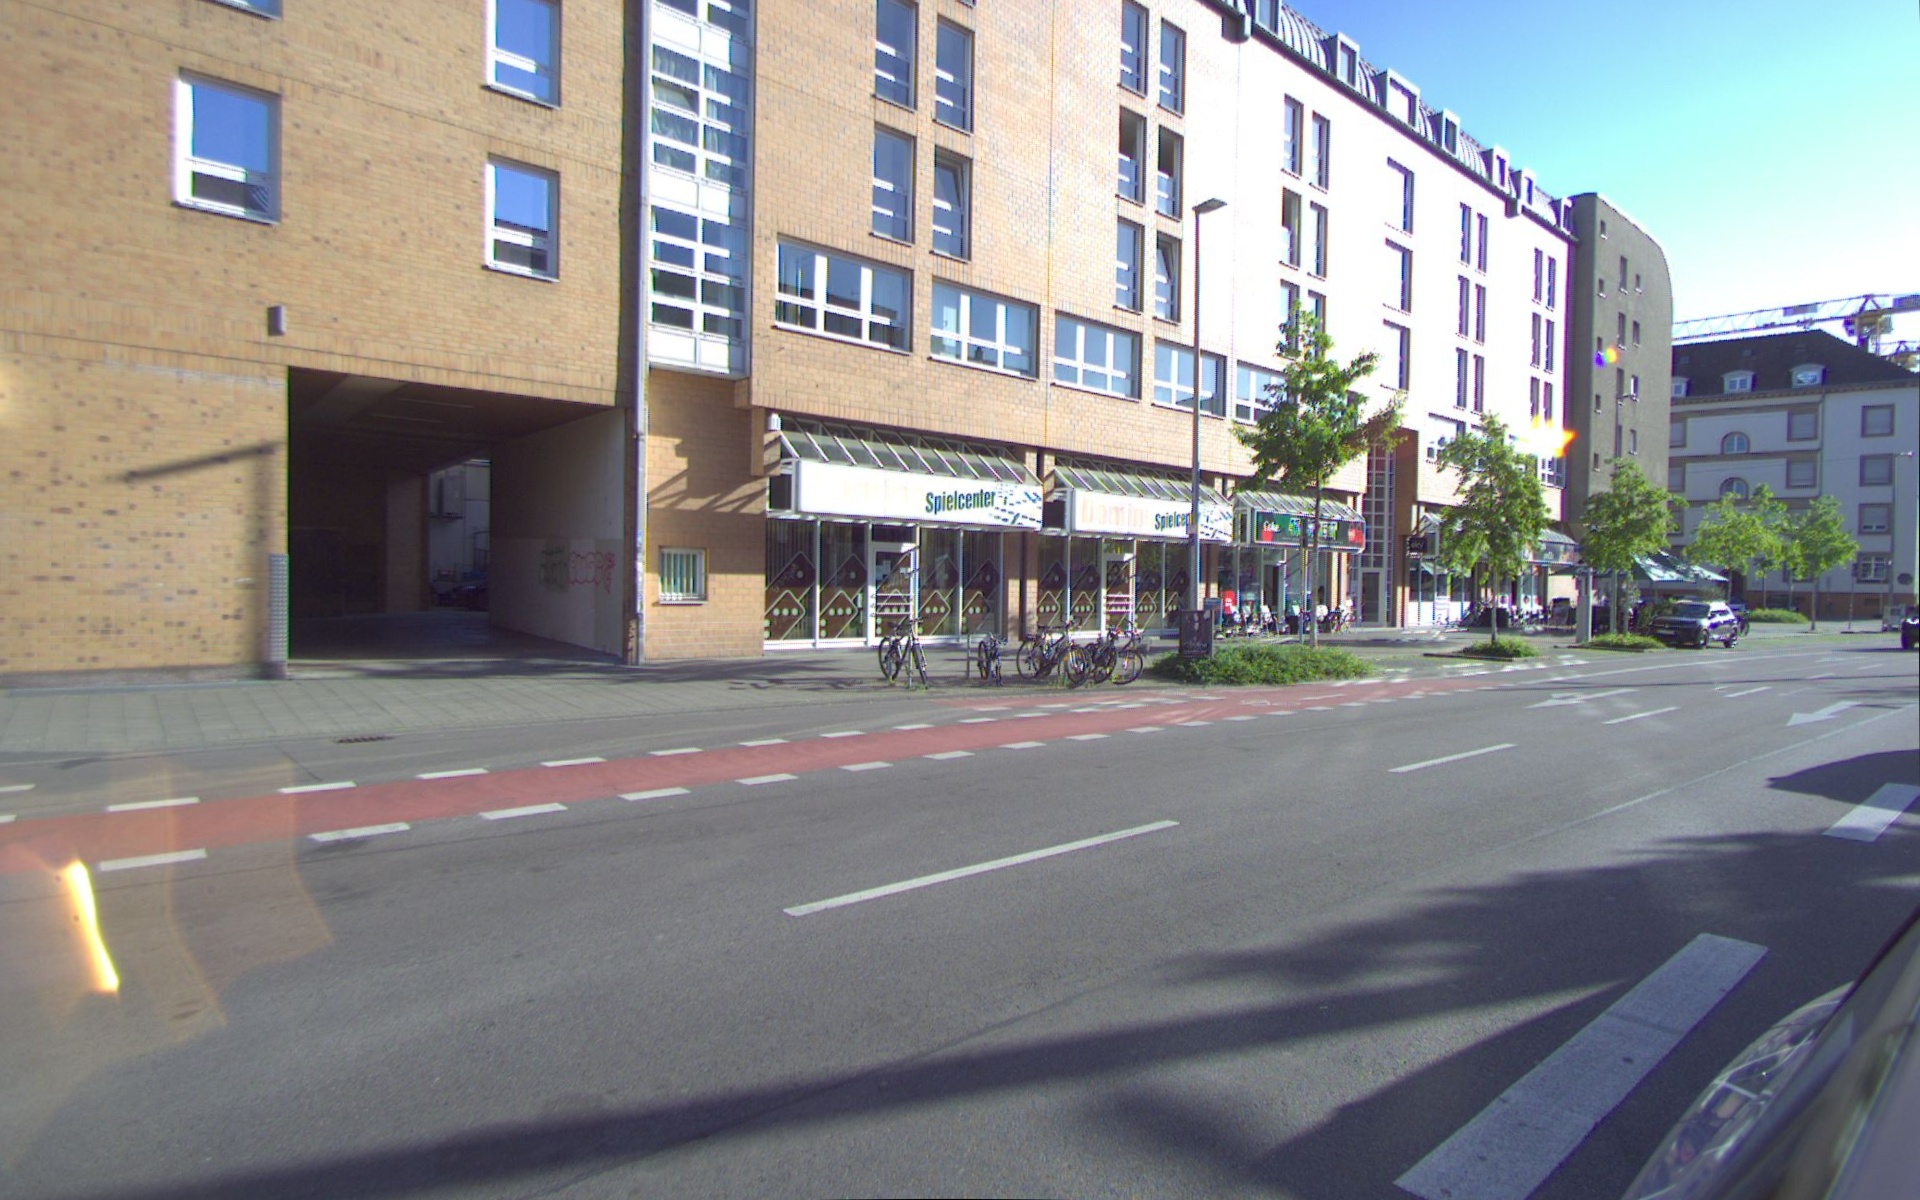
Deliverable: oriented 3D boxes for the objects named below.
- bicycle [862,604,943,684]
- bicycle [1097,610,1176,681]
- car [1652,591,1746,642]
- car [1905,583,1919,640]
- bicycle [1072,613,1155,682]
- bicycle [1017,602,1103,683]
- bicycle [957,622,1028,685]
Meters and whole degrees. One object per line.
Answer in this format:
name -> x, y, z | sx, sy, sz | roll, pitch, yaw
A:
bicycle -> -0.946, 0.673, 16.261 | 0.423, 1.089, 1.776 | -1, 4, -35
bicycle -> 3.083, 0.769, 17.868 | 0.343, 1.069, 1.843 | 0, 3, -26
car -> 25.782, 0.538, 35.286 | 3.929, 1.660, 1.778 | 0, 1, -41
car -> 34.712, 0.379, 35.312 | 4.396, 1.939, 2.162 | 0, 0, -42
bicycle -> 2.650, 0.801, 17.662 | 0.440, 0.997, 1.843 | 0, 3, -26
bicycle -> 1.666, 0.680, 17.172 | 0.553, 1.177, 1.843 | 0, 3, -26
bicycle -> 0.513, 0.860, 16.713 | 0.359, 0.842, 1.779 | 0, 3, -26
